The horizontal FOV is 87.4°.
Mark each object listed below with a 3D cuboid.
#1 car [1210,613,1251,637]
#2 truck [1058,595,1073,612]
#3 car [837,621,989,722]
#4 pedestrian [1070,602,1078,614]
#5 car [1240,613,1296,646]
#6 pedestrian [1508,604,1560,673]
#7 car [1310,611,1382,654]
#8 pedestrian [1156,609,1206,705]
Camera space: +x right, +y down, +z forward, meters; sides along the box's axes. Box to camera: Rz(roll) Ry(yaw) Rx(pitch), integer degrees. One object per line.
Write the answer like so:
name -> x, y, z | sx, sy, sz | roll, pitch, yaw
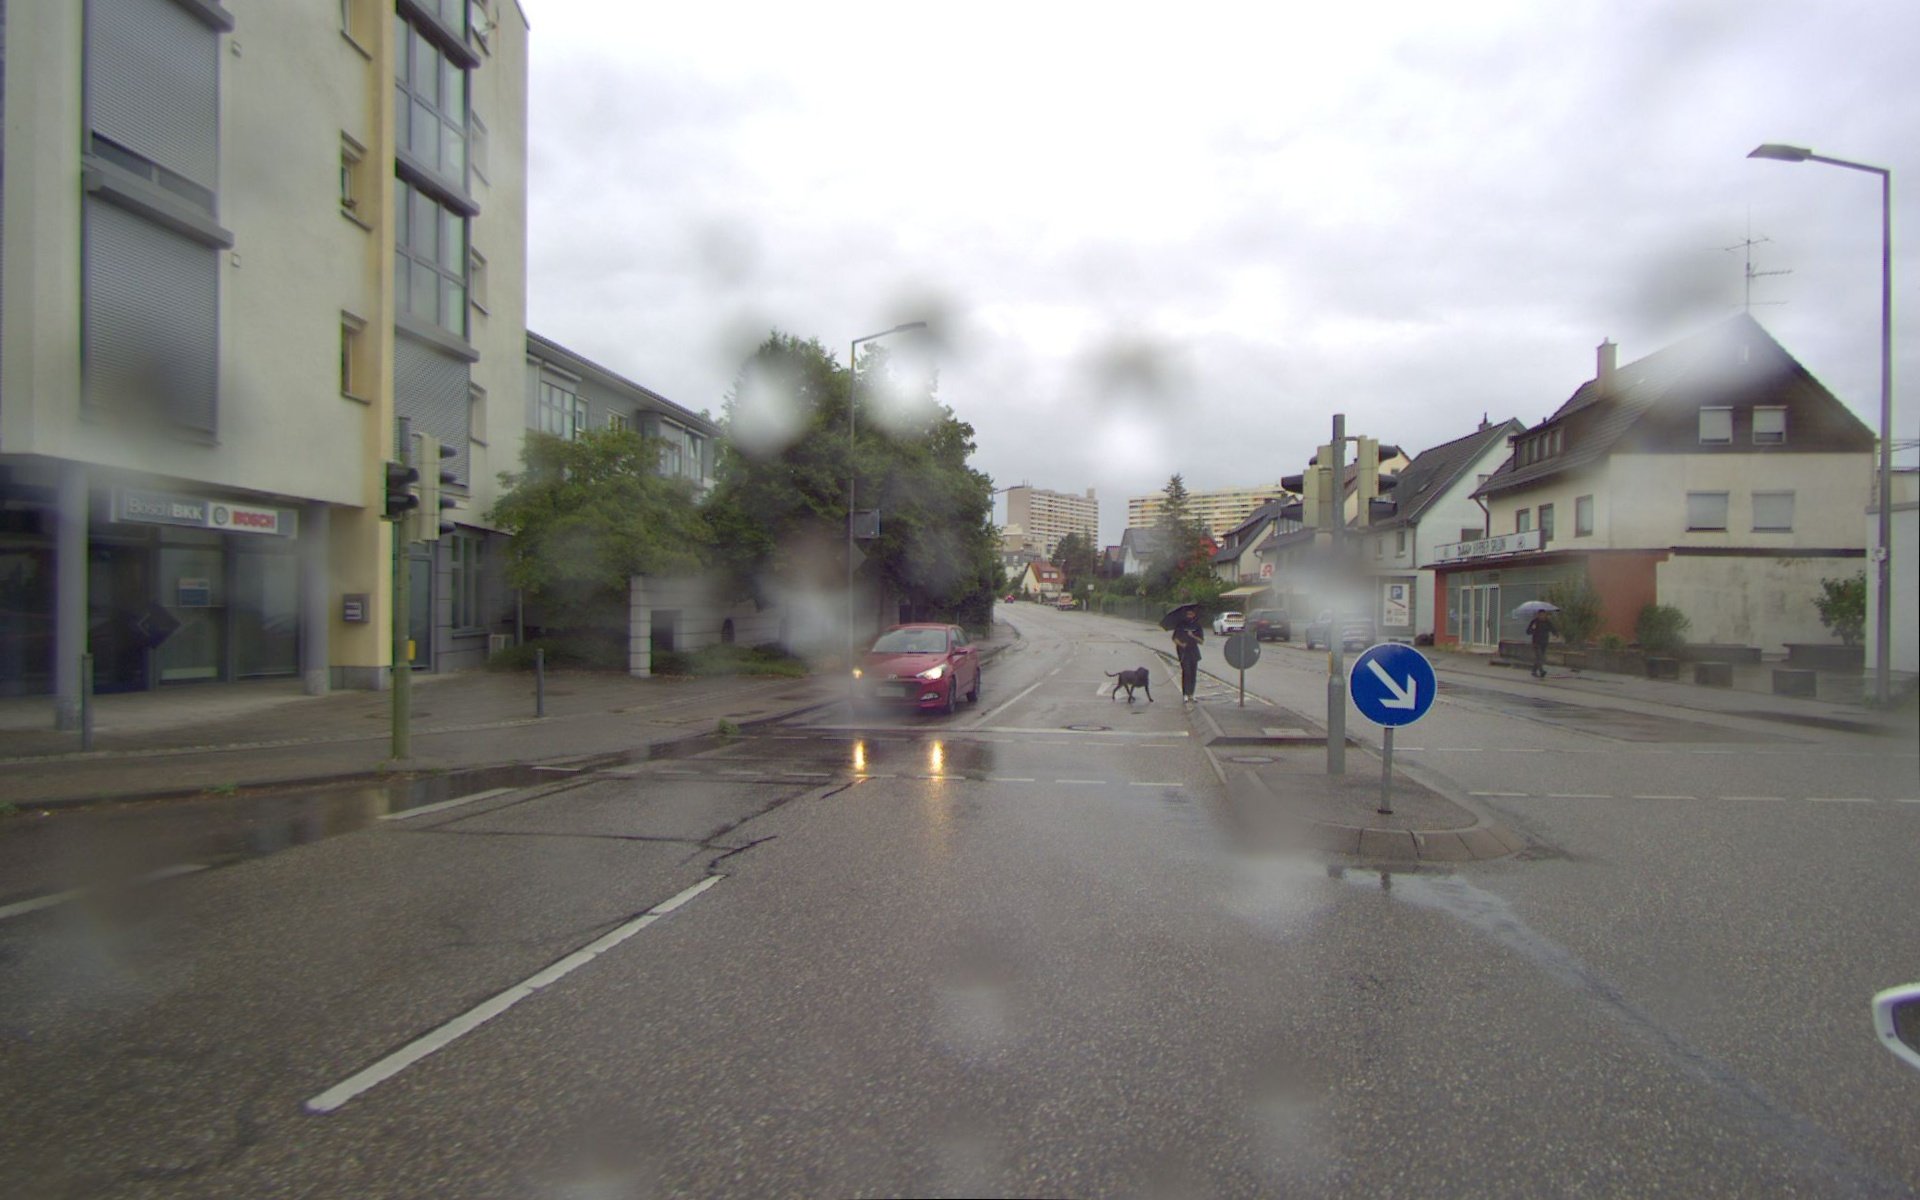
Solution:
car -> 17.578, 1.601, 65.393 | 1.784, 1.467, 4.205 | -2, -1, 4
truck -> 15.389, 0.476, 146.276 | 1.960, 2.334, 4.001 | 0, 0, 2
car -> -0.690, 1.172, 17.738 | 1.745, 1.526, 4.107 | -2, -2, 10
pedestrian -> 16.141, 1.131, 142.317 | 0.813, 1.821, 0.797 | 0, 1, -19
car -> 16.974, 1.614, 55.601 | 2.001, 1.717, 4.966 | -2, -1, 5
pedestrian -> 13.822, 0.921, 24.203 | 0.740, 1.589, 0.994 | 2, -1, 9
car -> 16.351, 1.375, 42.788 | 1.843, 1.664, 4.796 | -2, -1, 9
pedestrian -> 4.140, 1.048, 18.759 | 0.656, 1.725, 0.946 | 1, -1, 27
